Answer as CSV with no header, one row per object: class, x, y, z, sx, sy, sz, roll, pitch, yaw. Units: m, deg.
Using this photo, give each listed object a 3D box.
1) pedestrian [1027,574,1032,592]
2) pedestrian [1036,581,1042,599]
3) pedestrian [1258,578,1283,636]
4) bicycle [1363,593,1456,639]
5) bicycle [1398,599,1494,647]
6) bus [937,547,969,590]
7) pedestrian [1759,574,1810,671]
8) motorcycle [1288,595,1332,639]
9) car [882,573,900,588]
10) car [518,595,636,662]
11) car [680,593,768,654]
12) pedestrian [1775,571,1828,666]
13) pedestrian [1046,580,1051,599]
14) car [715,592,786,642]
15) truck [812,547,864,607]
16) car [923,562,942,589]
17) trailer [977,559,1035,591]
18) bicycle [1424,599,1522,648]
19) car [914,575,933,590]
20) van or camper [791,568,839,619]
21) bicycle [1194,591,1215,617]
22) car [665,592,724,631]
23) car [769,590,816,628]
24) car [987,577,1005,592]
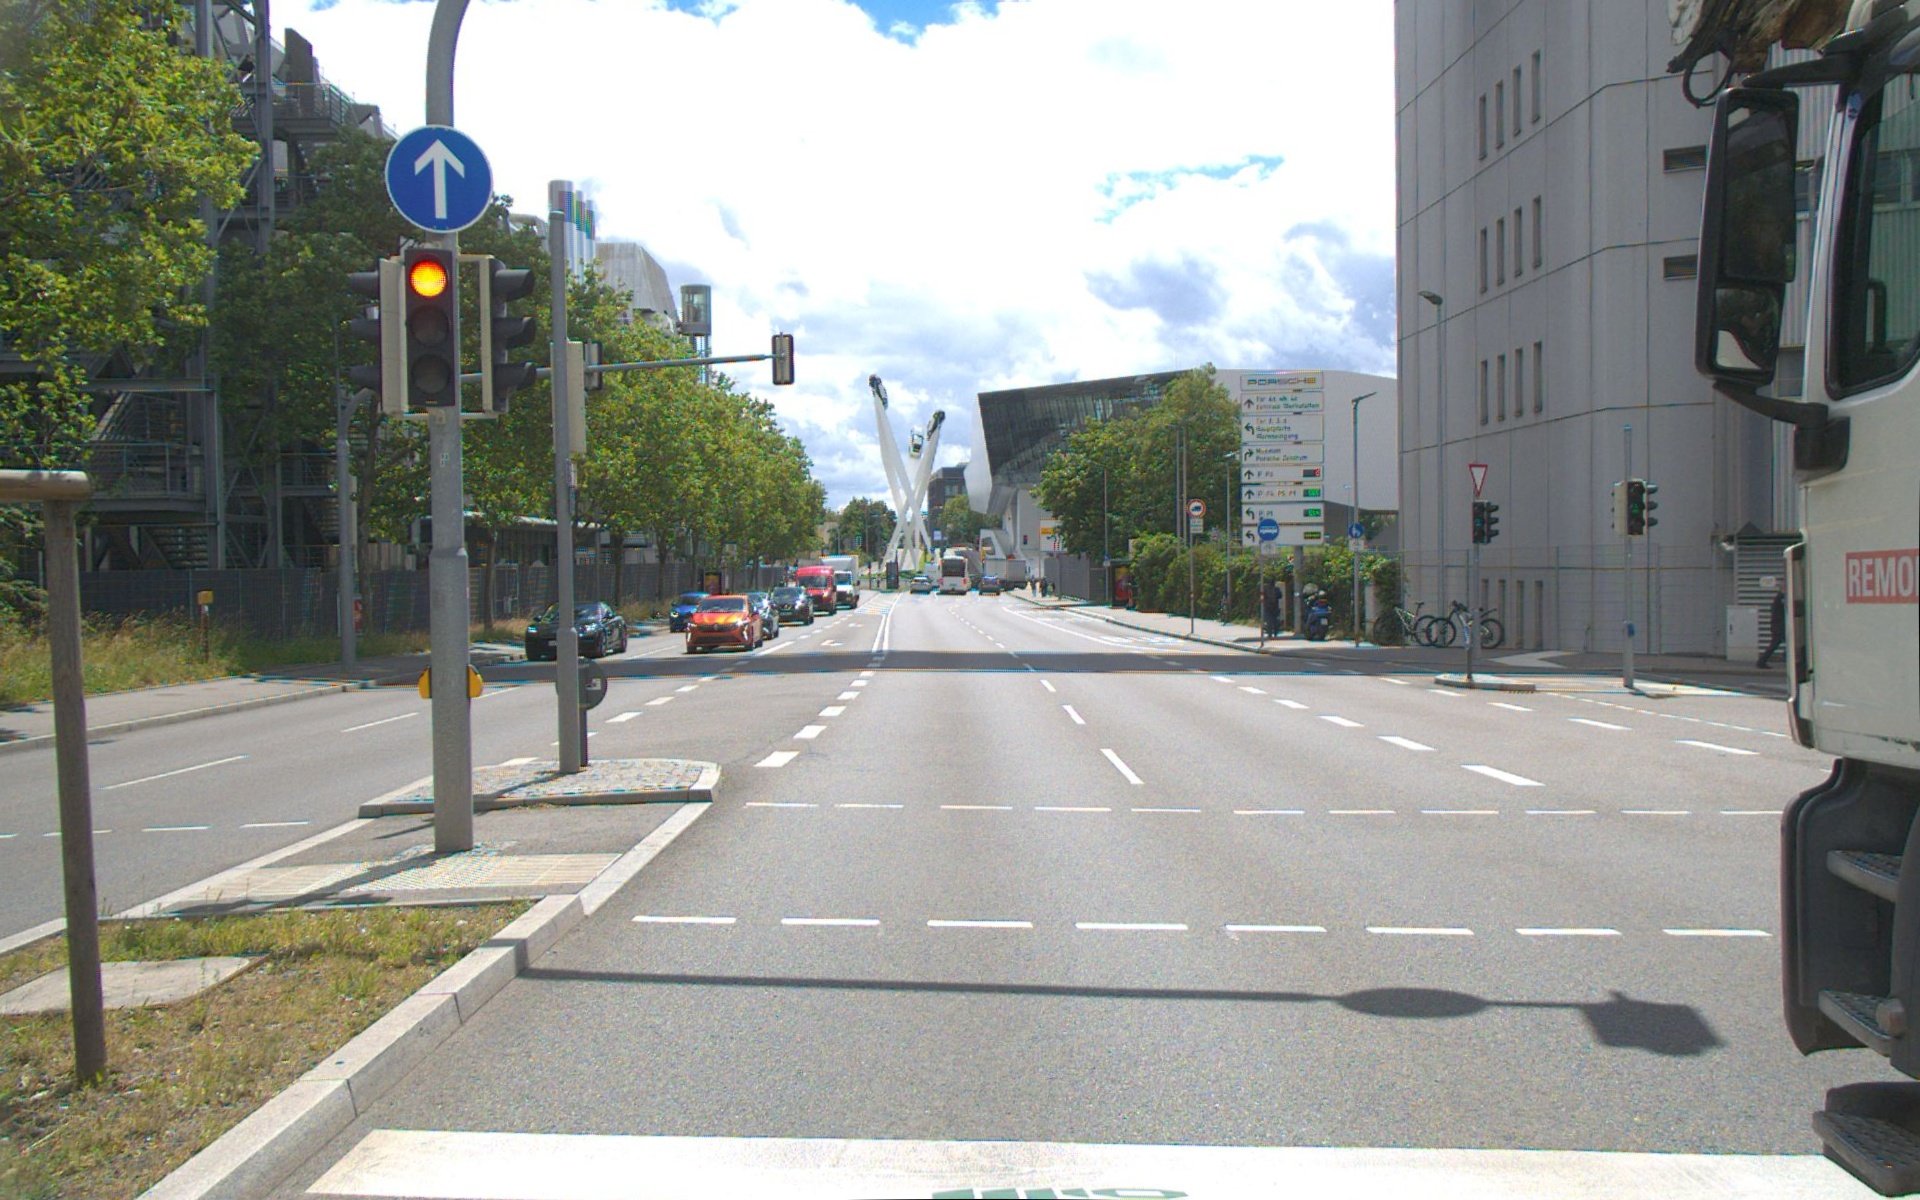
pedestrian,5.665,-1.347,134.450,0.378,1.446,0.423,1,-1,0
pedestrian,6.241,-0.770,130.744,0.378,1.446,0.423,1,-1,0
pedestrian,8.929,0.202,47.537,0.523,1.669,0.657,1,-1,-6
bicycle,11.147,0.390,41.036,2.180,1.105,0.475,1,-1,35
bicycle,11.660,0.534,39.732,2.180,1.105,0.475,1,-1,35
bus,-0.634,-2.802,150.153,2.730,3.750,6.942,1,0,0
pedestrian,15.921,0.425,31.955,0.694,1.825,0.643,-3,1,14
motorcycle,9.542,0.456,45.165,0.410,1.186,1.951,1,0,-11
car,-6.484,-1.821,155.711,1.525,1.295,3.701,-2,0,0
car,-9.818,0.688,42.786,1.878,1.514,4.772,-2,0,0
car,-6.174,0.581,43.651,1.733,1.445,3.701,-2,0,0
pedestrian,16.571,0.363,32.587,0.694,1.825,0.694,-3,1,9
pedestrian,7.019,-0.828,130.779,0.378,1.446,0.423,1,-1,0
car,-6.620,0.516,52.508,1.733,1.445,3.701,-2,0,0
truck,-7.258,-1.315,99.080,2.538,3.382,7.078,1,0,0
car,-2.863,-2.546,171.090,1.806,2.669,4.000,1,0,0
trailer,4.873,-2.545,172.275,3.250,3.047,10.380,1,0,18
bicycle,12.029,0.536,38.824,2.149,1.105,0.475,1,-1,35
car,-3.305,-1.565,148.619,1.525,1.295,3.701,-2,0,1
van or camper,-7.445,-0.354,85.373,2.005,2.509,5.594,0,0,0
bicycle,9.663,0.161,65.412,0.410,1.040,1.910,1,0,-5
car,-10.472,0.434,65.405,1.692,1.406,3.701,-2,0,0
car,-6.951,0.339,69.040,1.525,1.473,3.772,-2,0,0
car,3.171,-1.362,146.243,1.525,1.295,3.701,-2,0,1
